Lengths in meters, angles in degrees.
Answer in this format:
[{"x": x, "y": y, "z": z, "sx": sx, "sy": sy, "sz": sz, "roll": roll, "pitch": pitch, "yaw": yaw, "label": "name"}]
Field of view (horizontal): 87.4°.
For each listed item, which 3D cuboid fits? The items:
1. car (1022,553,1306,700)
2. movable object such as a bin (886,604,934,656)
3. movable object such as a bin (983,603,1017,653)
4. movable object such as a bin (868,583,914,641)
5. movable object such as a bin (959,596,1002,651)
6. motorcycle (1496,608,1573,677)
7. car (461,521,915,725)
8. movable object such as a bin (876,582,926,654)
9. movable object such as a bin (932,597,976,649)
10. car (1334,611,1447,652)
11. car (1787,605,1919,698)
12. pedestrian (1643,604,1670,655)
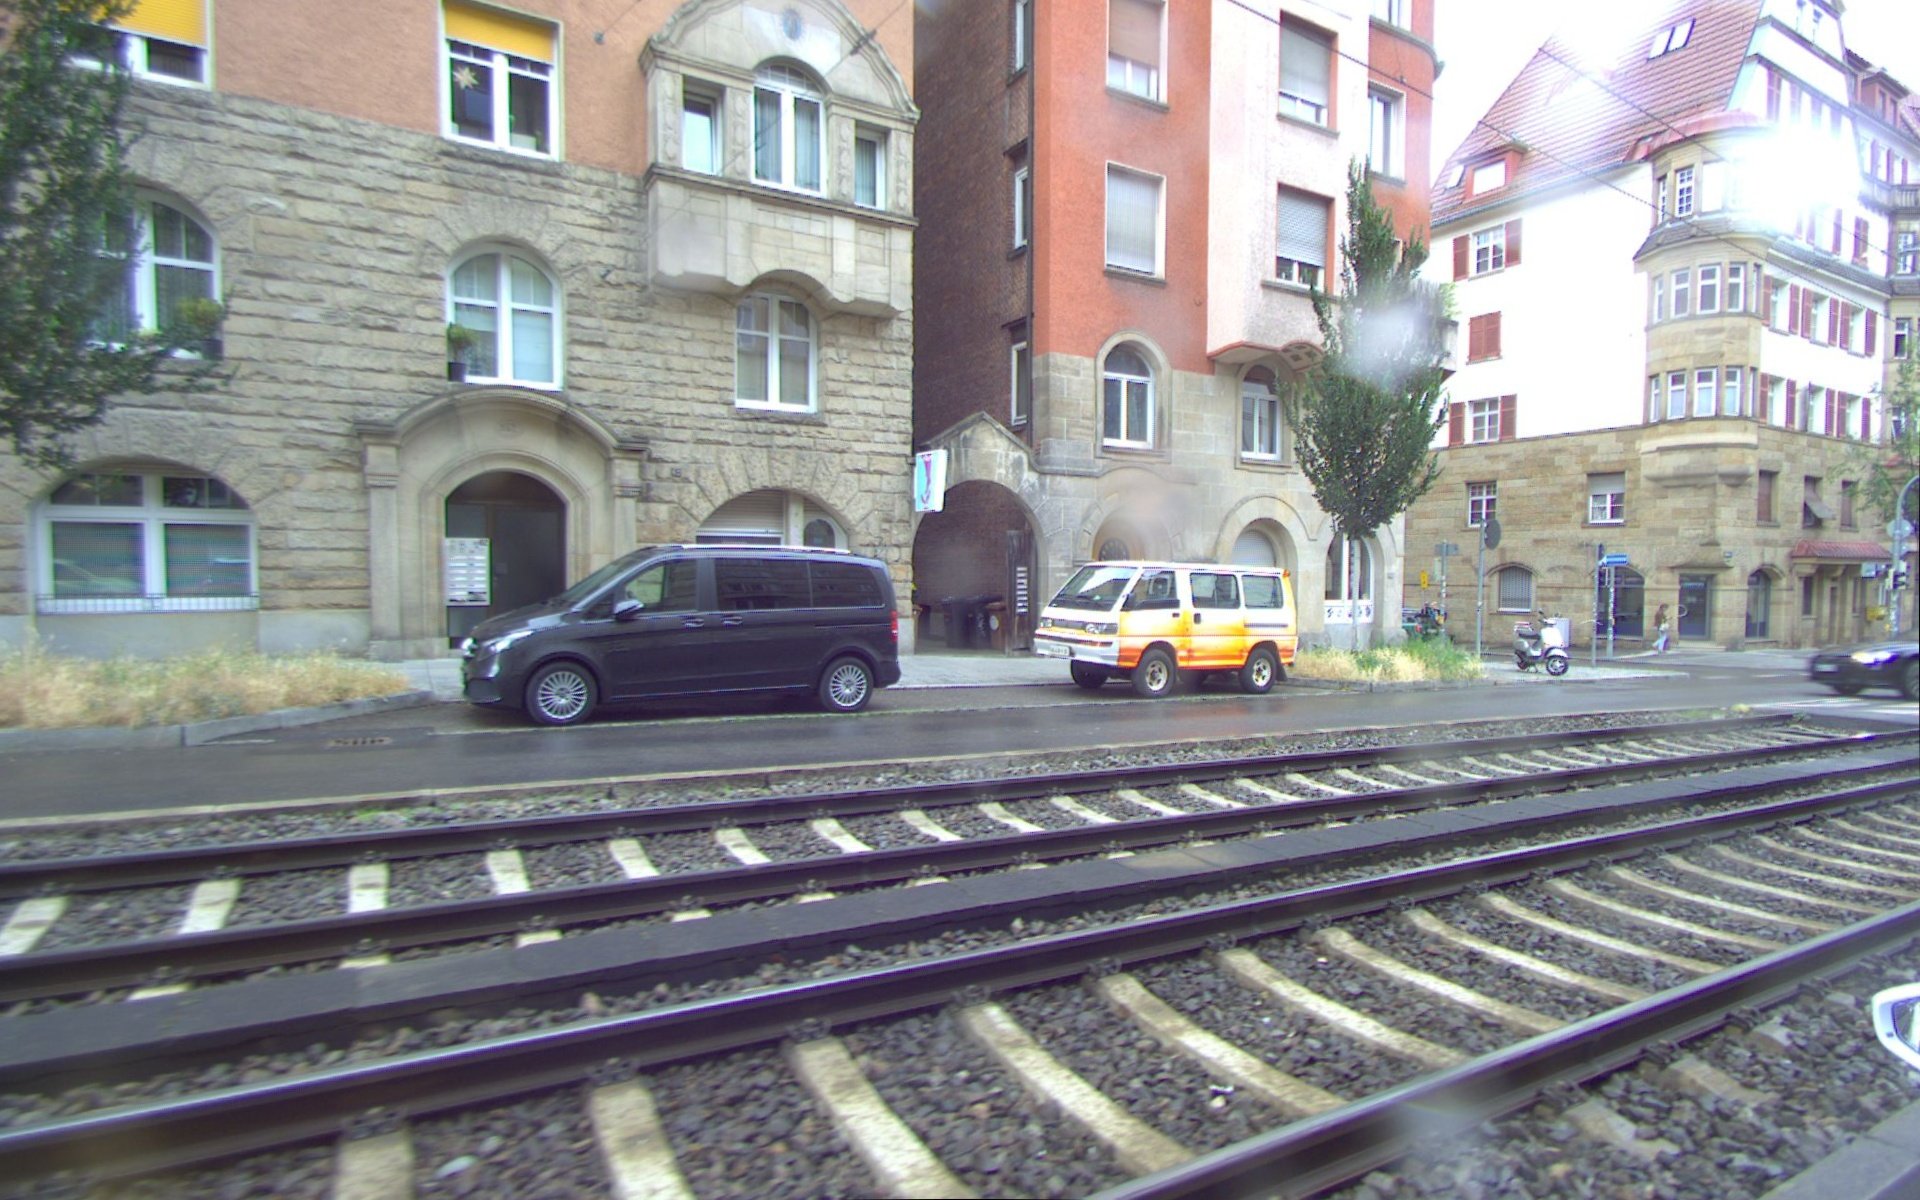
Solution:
[{"x": 3.226, "y": 0.412, "z": 15.593, "sx": 4.295, "sy": 2.001, "sz": 1.721, "roll": 2, "pitch": 0, "yaw": -32, "label": "car"}, {"x": -0.938, "y": 0.556, "z": 18.749, "sx": 0.627, "sy": 0.918, "sz": 0.793, "roll": 1, "pitch": 1, "yaw": -27, "label": "movable object such as a bin"}, {"x": 0.782, "y": 0.549, "z": 19.788, "sx": 0.442, "sy": 0.957, "sz": 0.557, "roll": 1, "pitch": -1, "yaw": -27, "label": "movable object such as a bin"}, {"x": -1.651, "y": 0.269, "z": 23.816, "sx": 0.676, "sy": 1.324, "sz": 1.154, "roll": 1, "pitch": 1, "yaw": -26, "label": "movable object such as a bin"}, {"x": 0.410, "y": 0.473, "z": 20.296, "sx": 0.607, "sy": 1.090, "sz": 0.679, "roll": 1, "pitch": -1, "yaw": -27, "label": "movable object such as a bin"}, {"x": 12.062, "y": 0.869, "z": 21.146, "sx": 0.612, "sy": 1.384, "sz": 1.596, "roll": 2, "pitch": 0, "yaw": -3, "label": "motorcycle"}, {"x": -3.104, "y": 0.284, "z": 11.755, "sx": 4.769, "sy": 1.968, "sz": 1.984, "roll": 2, "pitch": 0, "yaw": -30, "label": "car"}, {"x": -1.152, "y": 0.334, "z": 19.622, "sx": 0.648, "sy": 1.360, "sz": 0.903, "roll": 1, "pitch": 1, "yaw": -26, "label": "movable object such as a bin"}, {"x": -0.127, "y": 0.478, "z": 20.843, "sx": 0.607, "sy": 1.052, "sz": 0.793, "roll": 1, "pitch": -1, "yaw": -27, "label": "movable object such as a bin"}, {"x": 16.434, "y": 1.191, "z": 38.484, "sx": 1.683, "sy": 1.423, "sz": 3.618, "roll": 2, "pitch": 0, "yaw": -34, "label": "car"}, {"x": 17.850, "y": 0.932, "z": 17.631, "sx": 4.863, "sy": 1.544, "sz": 1.810, "roll": 2, "pitch": 0, "yaw": 10, "label": "car"}, {"x": 23.260, "y": 0.981, "z": 33.560, "sx": 0.691, "sy": 1.695, "sz": 0.631, "roll": 2, "pitch": 0, "yaw": 37, "label": "pedestrian"}]
